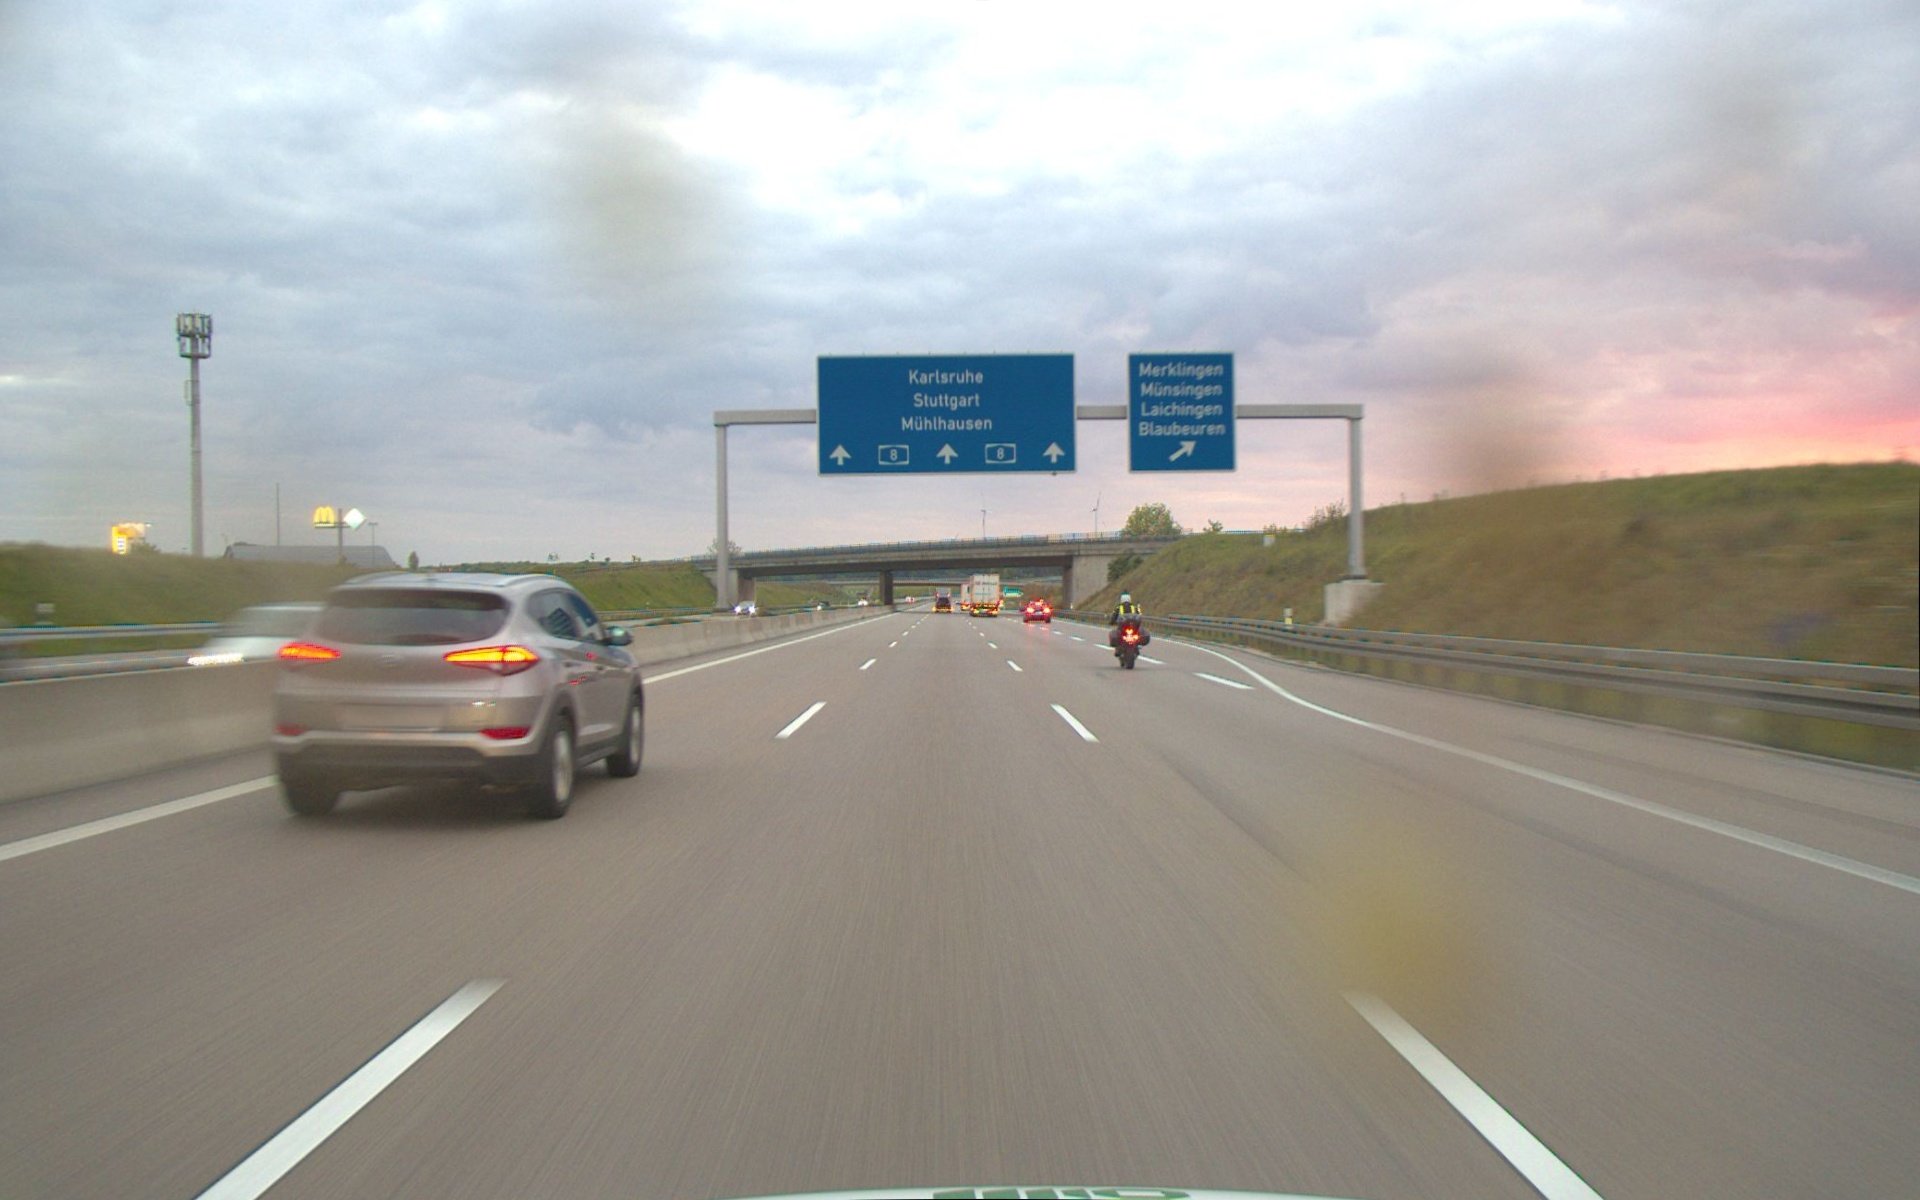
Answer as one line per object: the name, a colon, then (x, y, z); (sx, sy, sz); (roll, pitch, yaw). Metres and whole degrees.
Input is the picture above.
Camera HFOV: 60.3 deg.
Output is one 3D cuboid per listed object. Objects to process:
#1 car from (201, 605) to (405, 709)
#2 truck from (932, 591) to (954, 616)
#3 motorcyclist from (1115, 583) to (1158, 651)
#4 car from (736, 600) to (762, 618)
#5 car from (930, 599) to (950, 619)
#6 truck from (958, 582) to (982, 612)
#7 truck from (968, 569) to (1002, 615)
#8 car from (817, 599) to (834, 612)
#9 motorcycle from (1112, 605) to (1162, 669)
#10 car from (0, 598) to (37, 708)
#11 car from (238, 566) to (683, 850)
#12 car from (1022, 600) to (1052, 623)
car: (-11.398, 0.933, 29.052); (1.713, 1.625, 4.643); (1, 0, 0)
truck: (-2.308, 0.446, 225.401); (2.892, 3.273, 8.404); (1, 1, -1)
motorcyclist: (4.055, 0.381, 38.061); (0.848, 1.513, 1.168); (1, 1, 1)
car: (-20.340, 0.879, 159.444); (1.953, 1.630, 5.198); (1, 0, -2)
car: (-2.525, 1.088, 209.271); (2.465, 2.433, 6.494); (-1, 0, -1)
truck: (1.489, -0.517, 250.407); (3.454, 4.421, 8.404); (1, 1, -1)
truck: (2.387, -0.795, 160.444); (3.167, 4.301, 9.598); (1, 1, 0)
car: (-17.274, 0.660, 212.825); (1.782, 1.657, 4.000); (0, 0, 0)
motorcycle: (4.064, 0.835, 38.117); (0.883, 1.370, 2.349); (0, 1, 0)
car: (-15.156, 0.800, 23.215); (1.962, 1.615, 4.571); (-1, 0, -2)
car: (-3.494, 0.641, 12.813); (1.815, 1.722, 5.511); (0, 0, 0)
car: (5.571, 0.813, 119.801); (1.879, 1.607, 3.999); (0, 0, -1)
